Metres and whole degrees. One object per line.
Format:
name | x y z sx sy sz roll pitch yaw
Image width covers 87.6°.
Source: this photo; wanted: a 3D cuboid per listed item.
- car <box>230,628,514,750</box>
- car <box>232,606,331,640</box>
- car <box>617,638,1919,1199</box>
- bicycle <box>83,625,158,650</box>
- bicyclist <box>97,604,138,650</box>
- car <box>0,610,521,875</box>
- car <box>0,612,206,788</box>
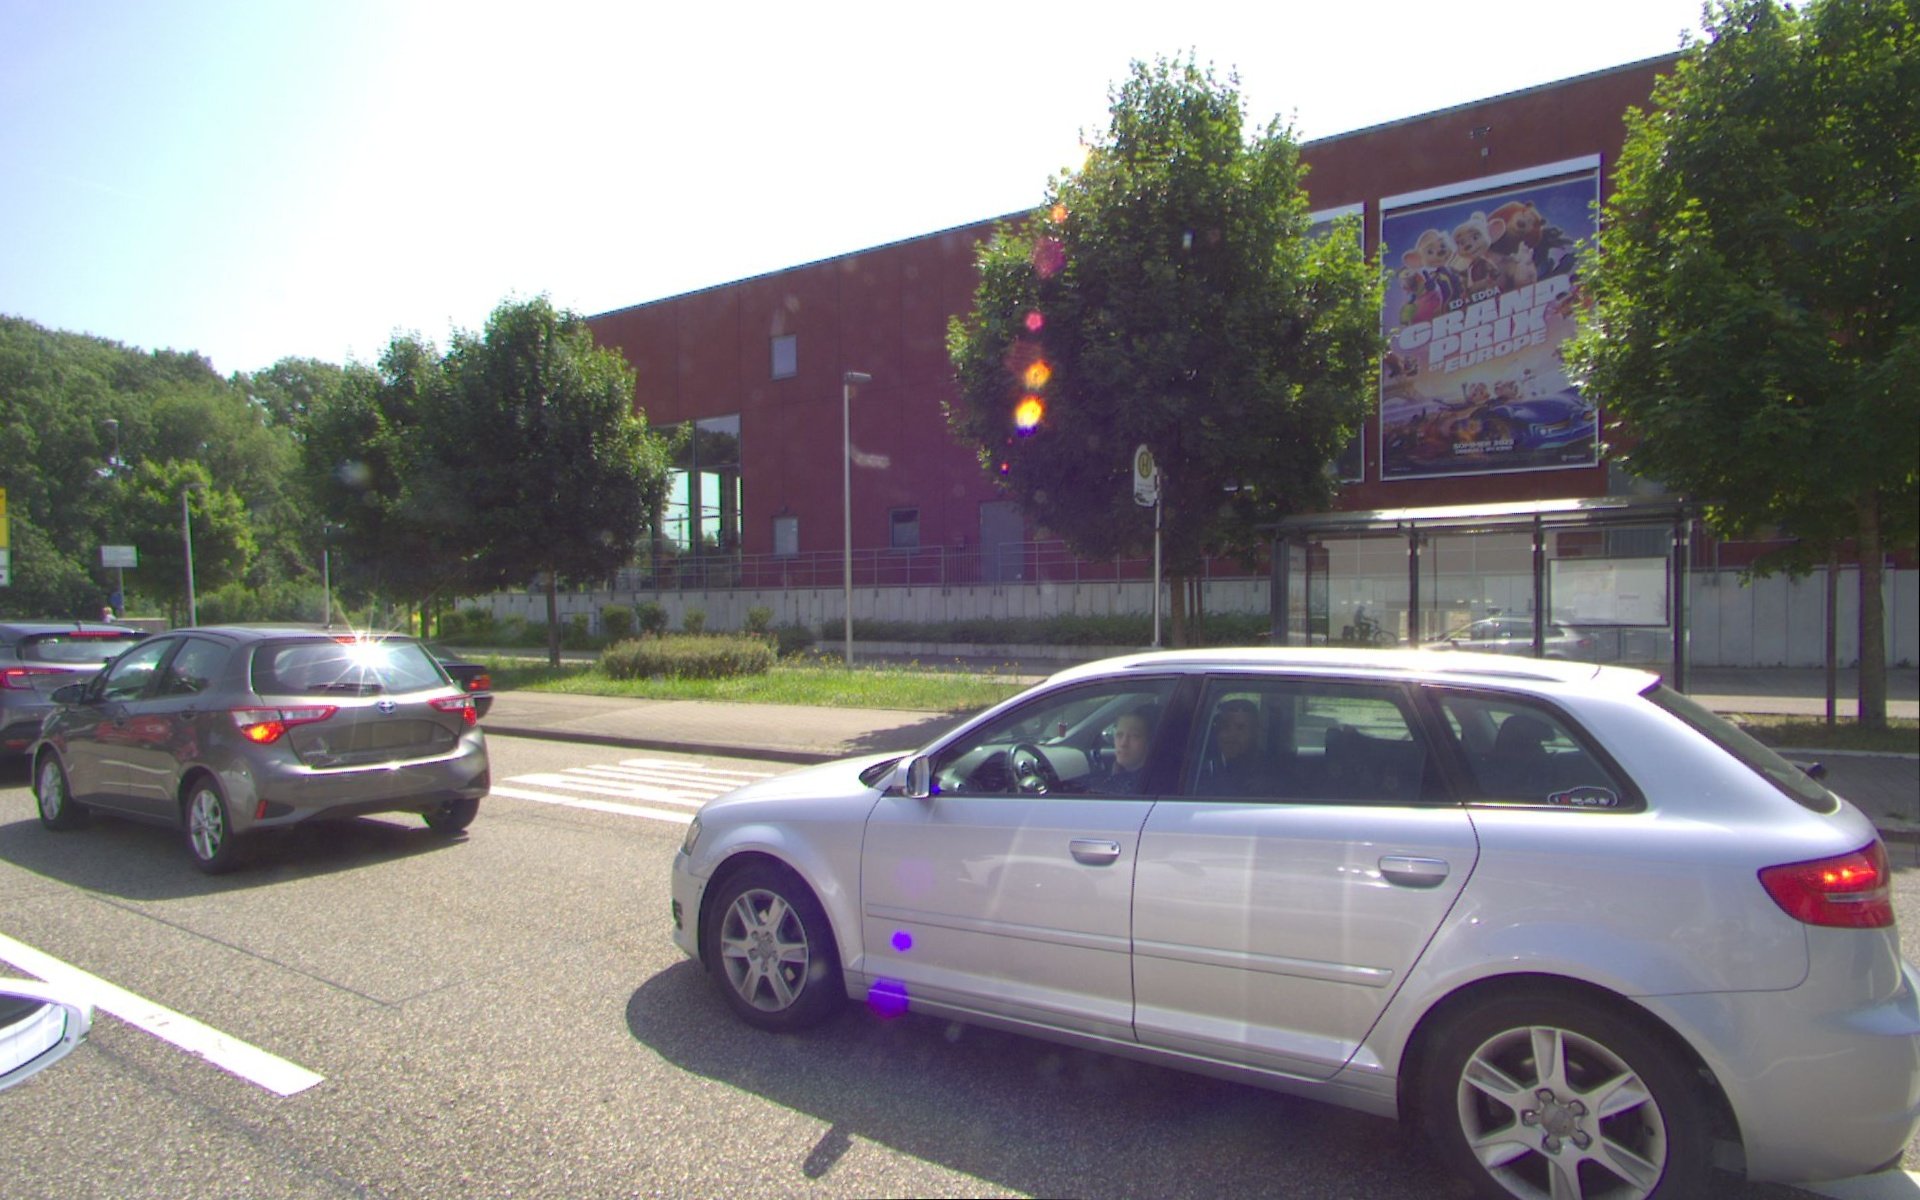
car | -8.007 1.103 13.528 4.086 1.388 1.635 0 -2 33
car | -36.410 1.195 53.808 1.850 1.712 3.983 0 0 28
car | 0.785 0.851 3.740 4.031 1.379 1.710 -1 -2 31
bicycle | -27.580 1.228 32.934 1.794 0.776 0.600 -1 1 -14
bicyclist | -27.679 0.881 32.896 0.814 1.458 0.598 -1 1 -14
car | -5.320 0.880 7.447 4.031 1.496 1.711 -1 -3 31
car | -10.132 0.949 10.878 4.031 1.614 1.709 -1 -1 31
